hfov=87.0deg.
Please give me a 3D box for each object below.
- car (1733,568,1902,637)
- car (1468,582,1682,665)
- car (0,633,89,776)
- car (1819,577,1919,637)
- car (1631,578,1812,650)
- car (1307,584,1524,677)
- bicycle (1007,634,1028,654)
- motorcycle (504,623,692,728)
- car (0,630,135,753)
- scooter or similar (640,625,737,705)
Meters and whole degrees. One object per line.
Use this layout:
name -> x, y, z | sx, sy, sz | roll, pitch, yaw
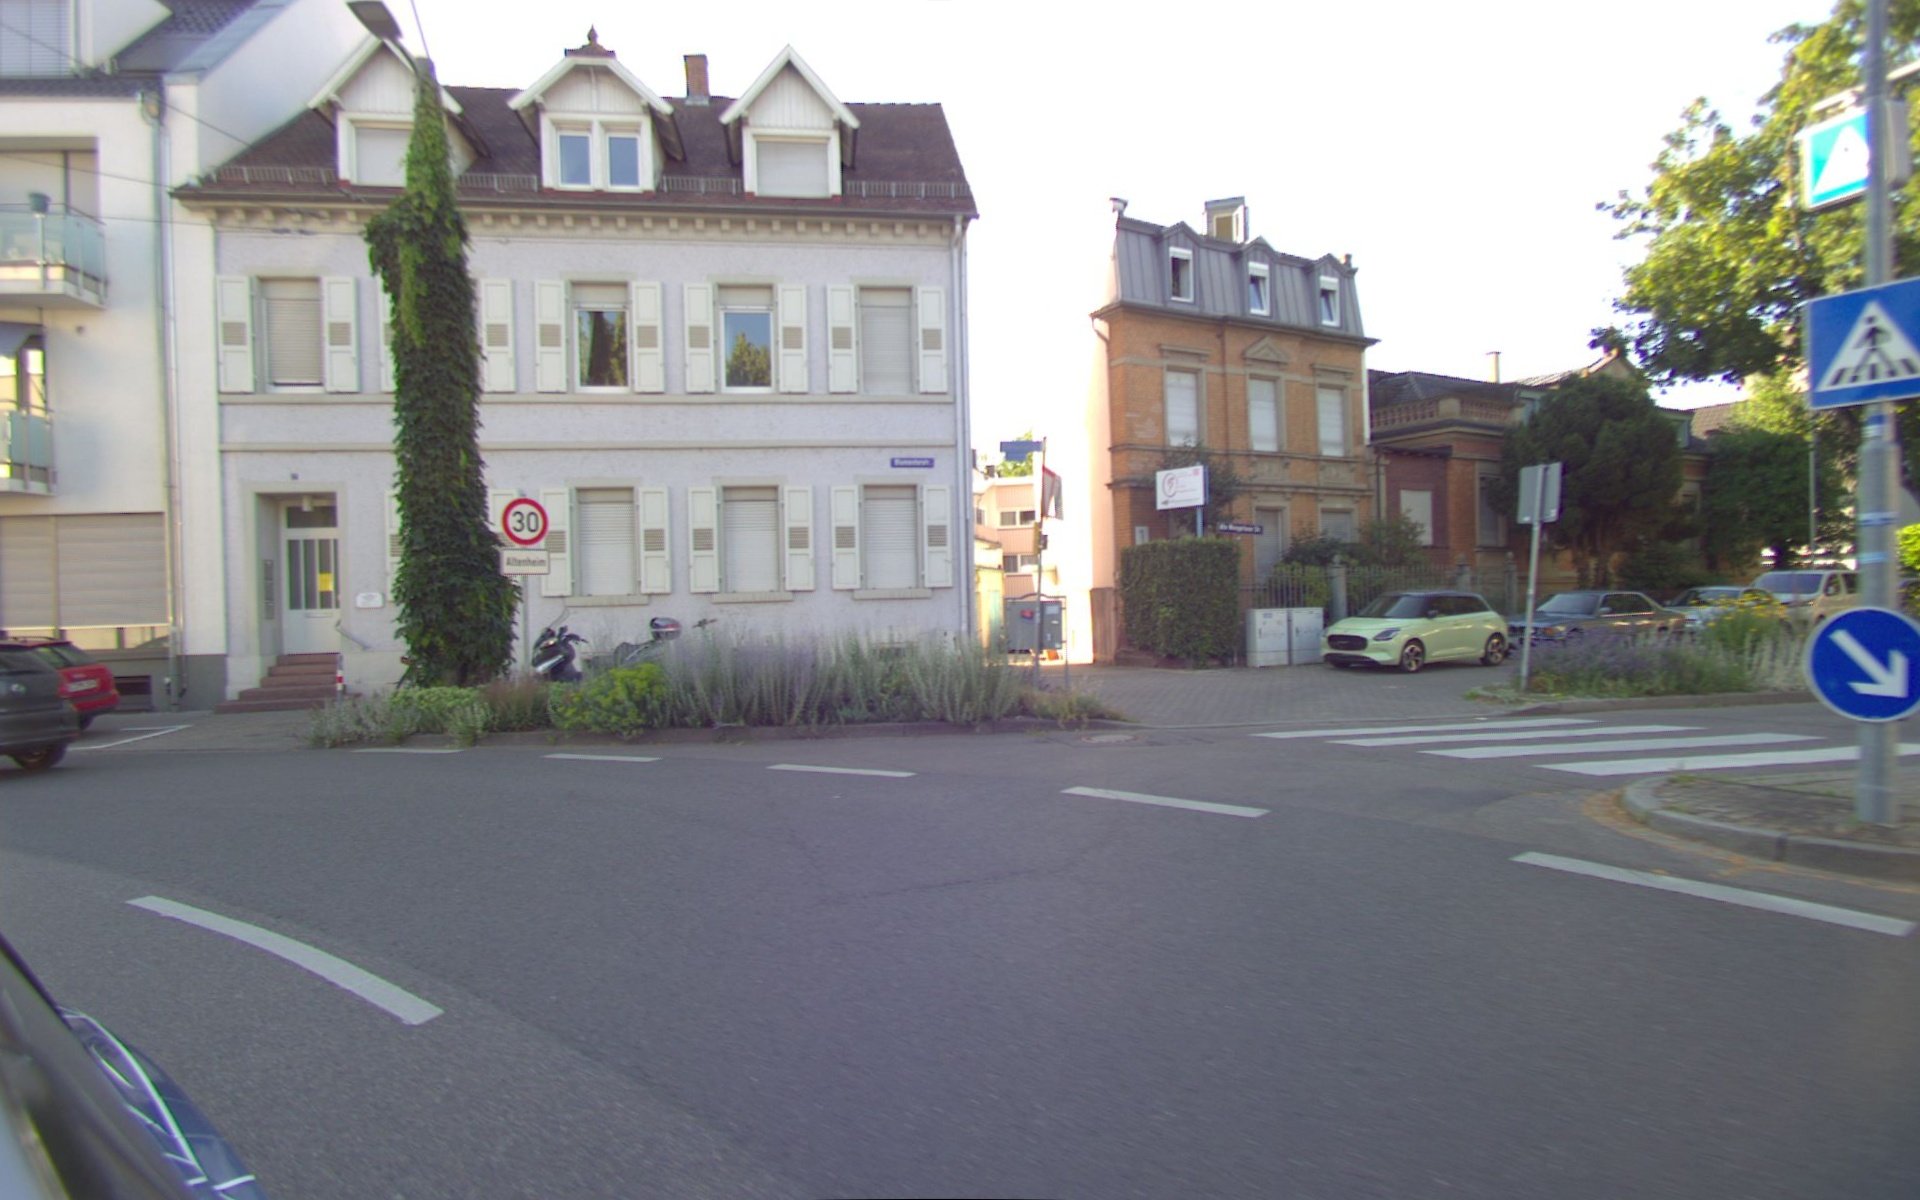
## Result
car -> 23.146, 0.021, 27.291 | 4.432, 1.675, 1.948 | -2, 1, -28
car -> 13.094, 0.446, 21.538 | 4.067, 1.548, 1.948 | -2, 1, -25
car -> -11.334, 1.113, 10.311 | 3.693, 1.414, 1.714 | -2, -2, 7
car -> 28.200, 0.165, 30.598 | 4.226, 1.675, 1.948 | -2, 1, -28
car -> 18.449, 0.284, 24.503 | 4.067, 1.548, 1.948 | -2, 1, -28
car -> 8.705, 0.523, 19.318 | 3.843, 1.548, 1.820 | -2, 1, -29
bicycle -> 2.546, 1.907, 44.569 | 0.853, 0.759, 2.293 | -2, 0, 4
motorcycle -> -5.327, 1.084, 15.034 | 2.521, 1.367, 0.937 | -2, 1, -17
car -> -14.368, 1.302, 13.989 | 4.529, 1.477, 1.714 | -2, 2, 1
scooter or similar -> -4.621, 1.086, 17.215 | 1.514, 1.238, 0.511 | -2, 1, -23
